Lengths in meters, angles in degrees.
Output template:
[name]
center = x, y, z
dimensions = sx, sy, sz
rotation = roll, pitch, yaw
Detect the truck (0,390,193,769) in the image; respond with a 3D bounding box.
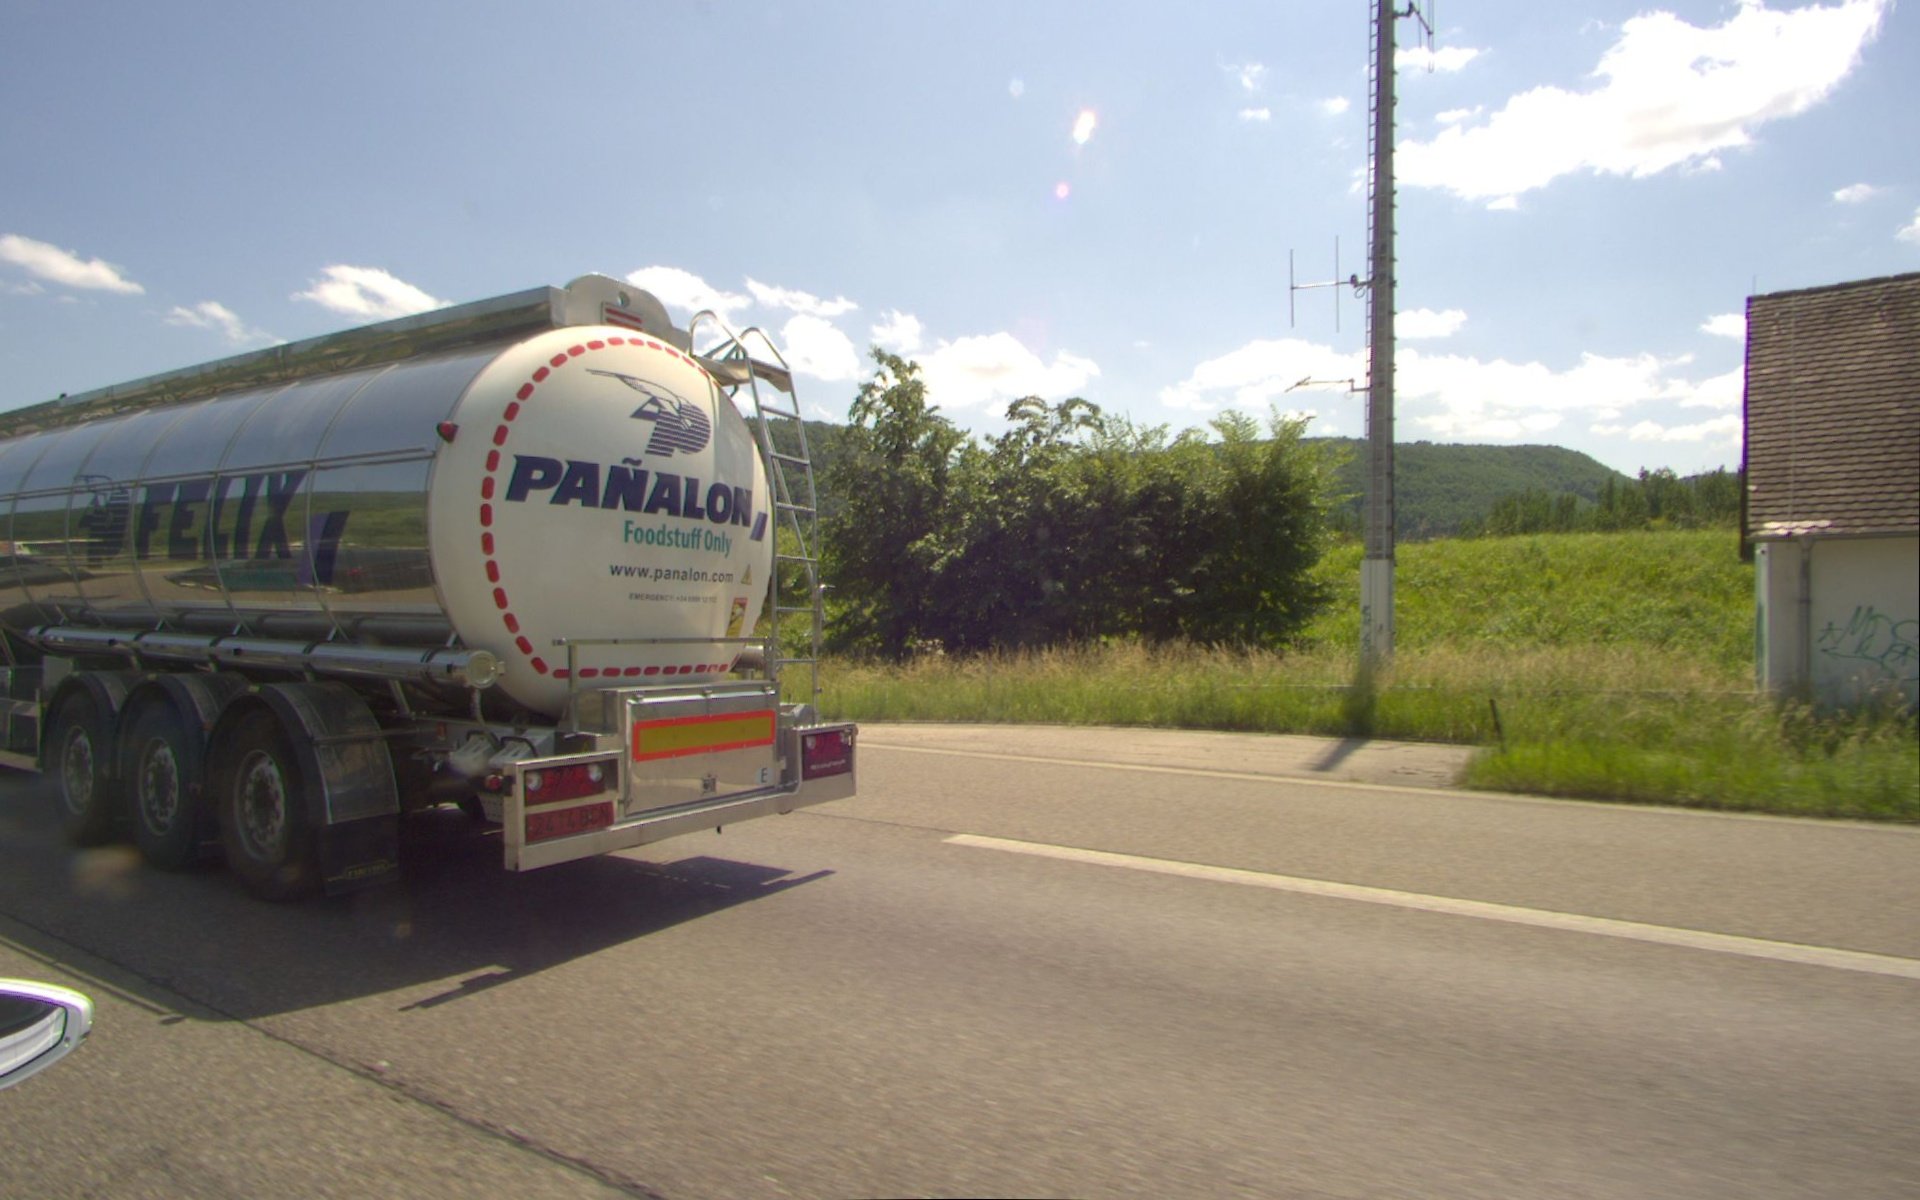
[truck]
center = -11.633, -0.171, 11.749
dimensions = 5.170, 3.807, 2.507
rotation = -1, -1, 32

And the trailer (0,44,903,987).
[trailer]
center = -5.977, -0.249, 8.204
dimensions = 11.719, 3.783, 2.534
rotation = -1, -1, 32
